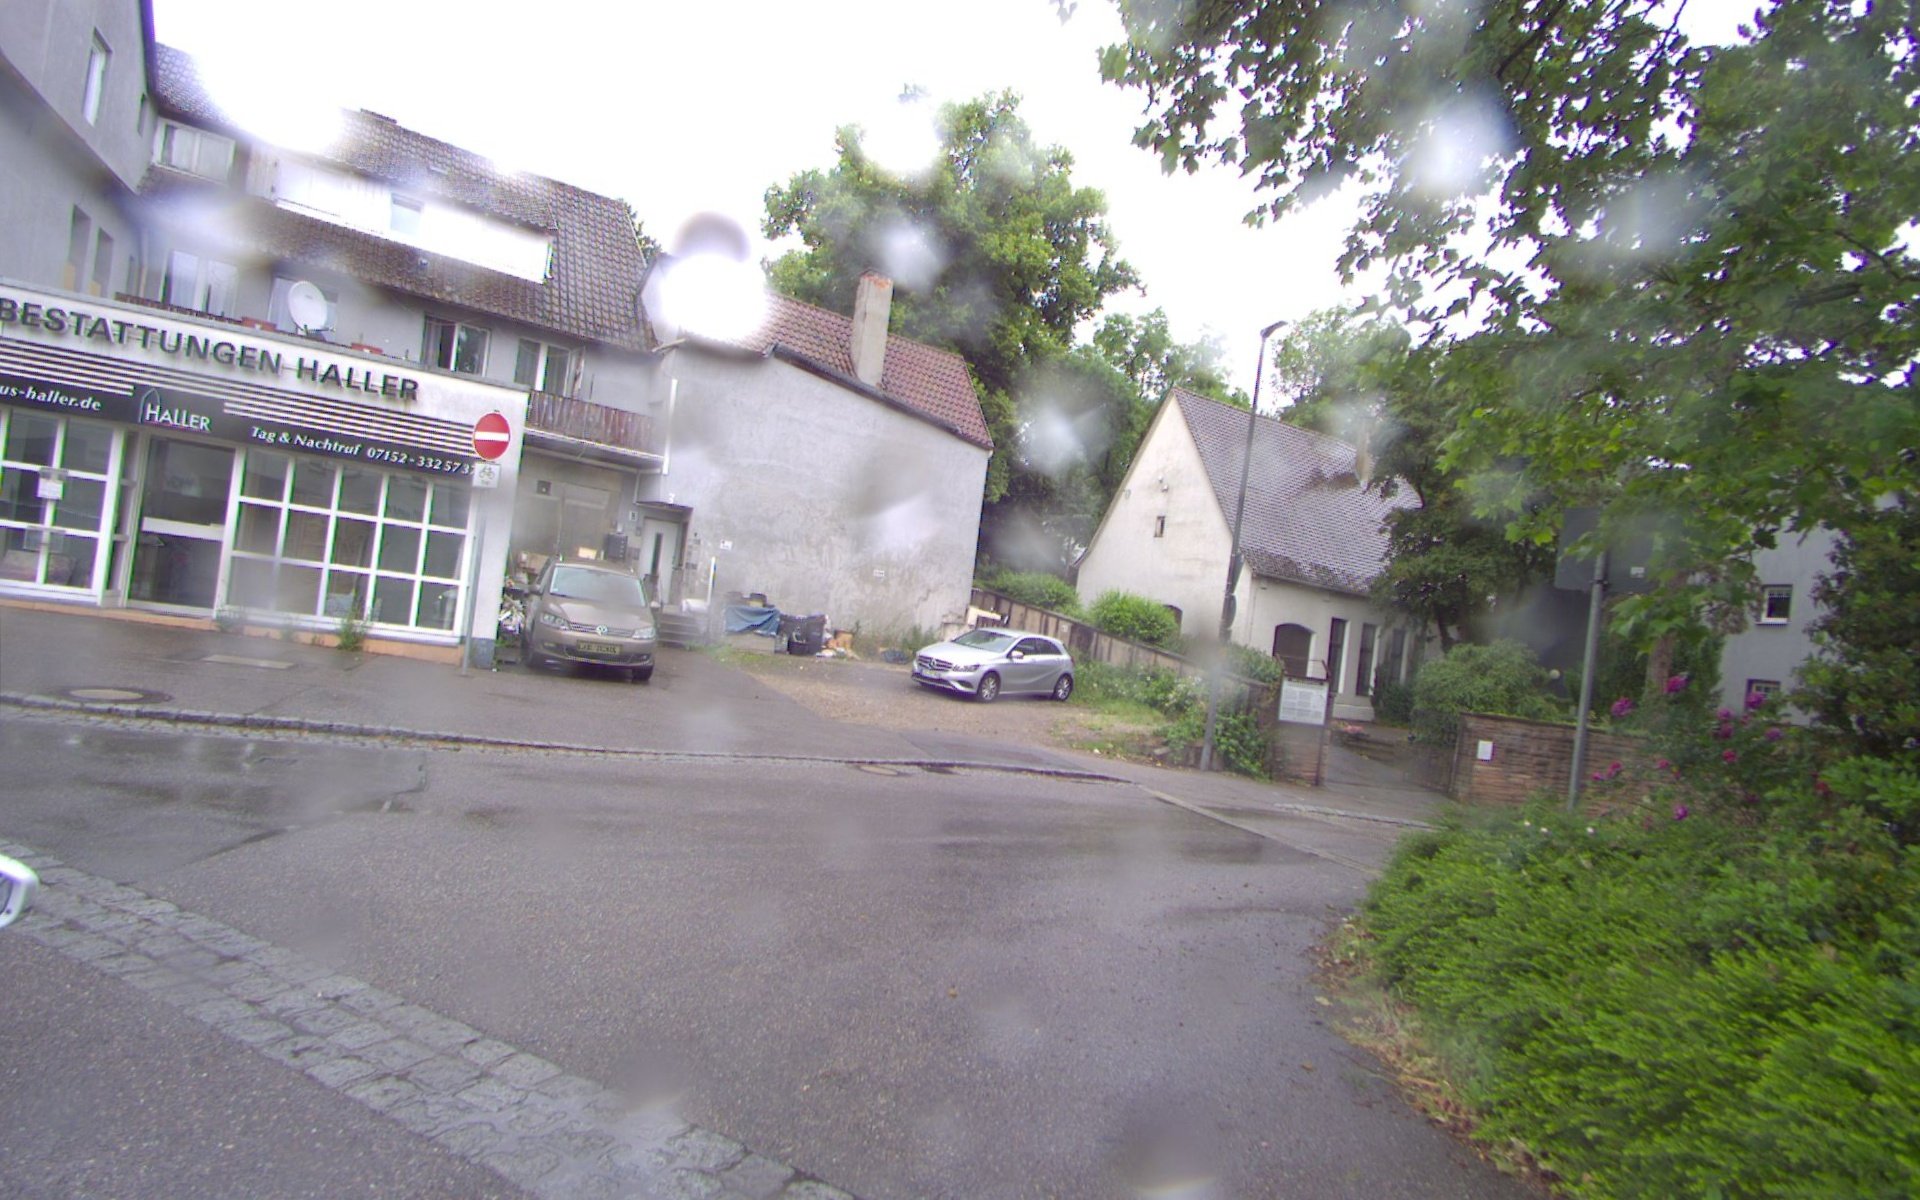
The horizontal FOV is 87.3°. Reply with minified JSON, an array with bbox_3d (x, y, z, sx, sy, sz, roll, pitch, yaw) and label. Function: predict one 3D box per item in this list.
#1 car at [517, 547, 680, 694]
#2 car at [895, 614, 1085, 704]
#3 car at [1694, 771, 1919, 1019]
[{"bbox_3d":[-5.916,0.228,16.156,1.976,1.793,3.975,9,0,-24],"label":"car"},{"bbox_3d":[0.723,1.279,21.253,1.806,1.493,3.983,10,2,39],"label":"car"},{"bbox_3d":[11.852,3.854,12.276,3.931,1.679,1.988,16,24,5],"label":"car"}]
